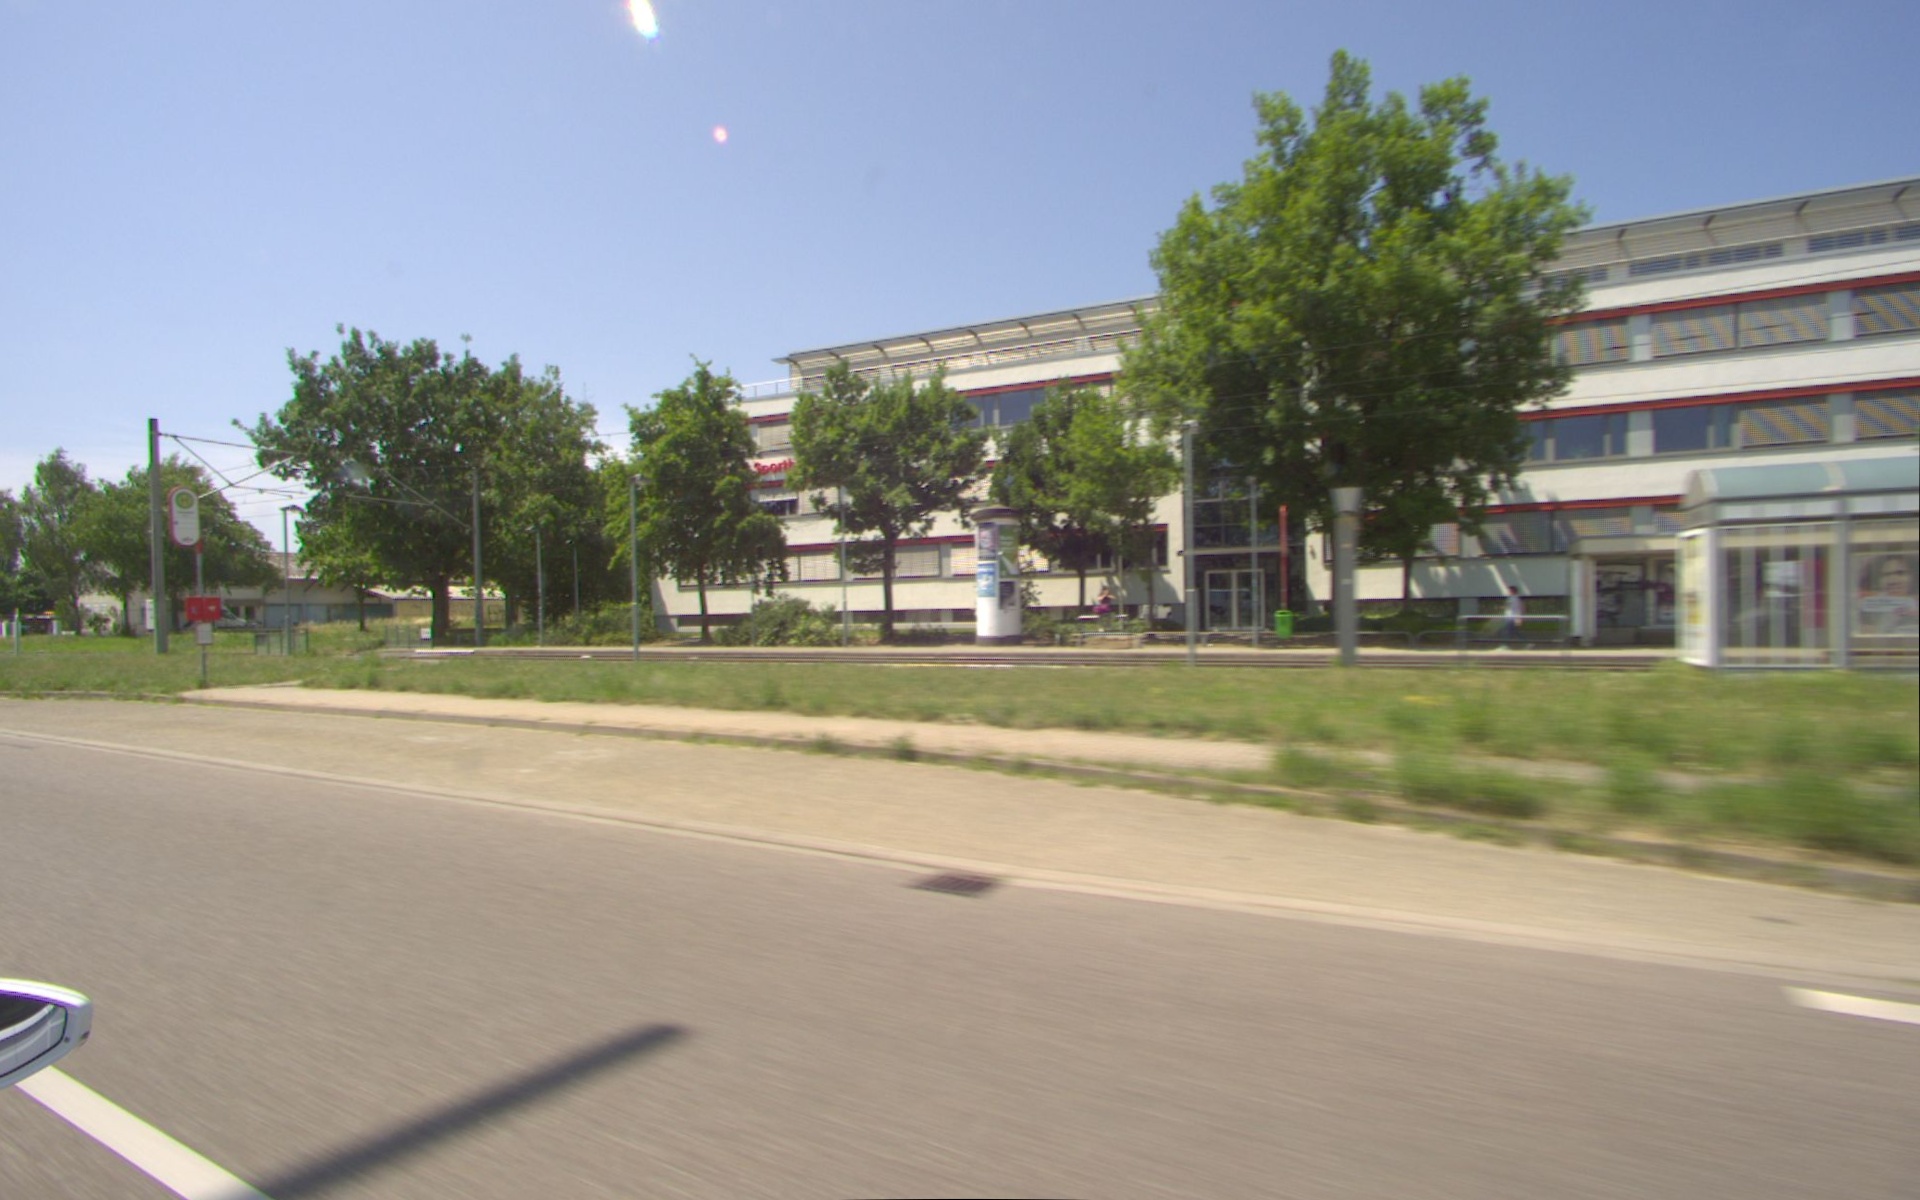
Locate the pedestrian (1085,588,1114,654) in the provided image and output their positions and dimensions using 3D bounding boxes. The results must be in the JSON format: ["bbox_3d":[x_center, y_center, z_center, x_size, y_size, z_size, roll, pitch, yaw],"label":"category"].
[{"bbox_3d":[3.972,0.604,28.532,0.699,1.865,0.695,-1,-1,16],"label":"pedestrian"}]

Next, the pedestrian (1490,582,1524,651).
[{"bbox_3d":[13.261,0.404,24.275,0.680,1.628,0.551,-2,-1,32],"label":"pedestrian"}]

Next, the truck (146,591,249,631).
[{"bbox_3d":[-58.730,0.803,77.286,2.282,2.881,5.839,-1,1,24],"label":"truck"}]
